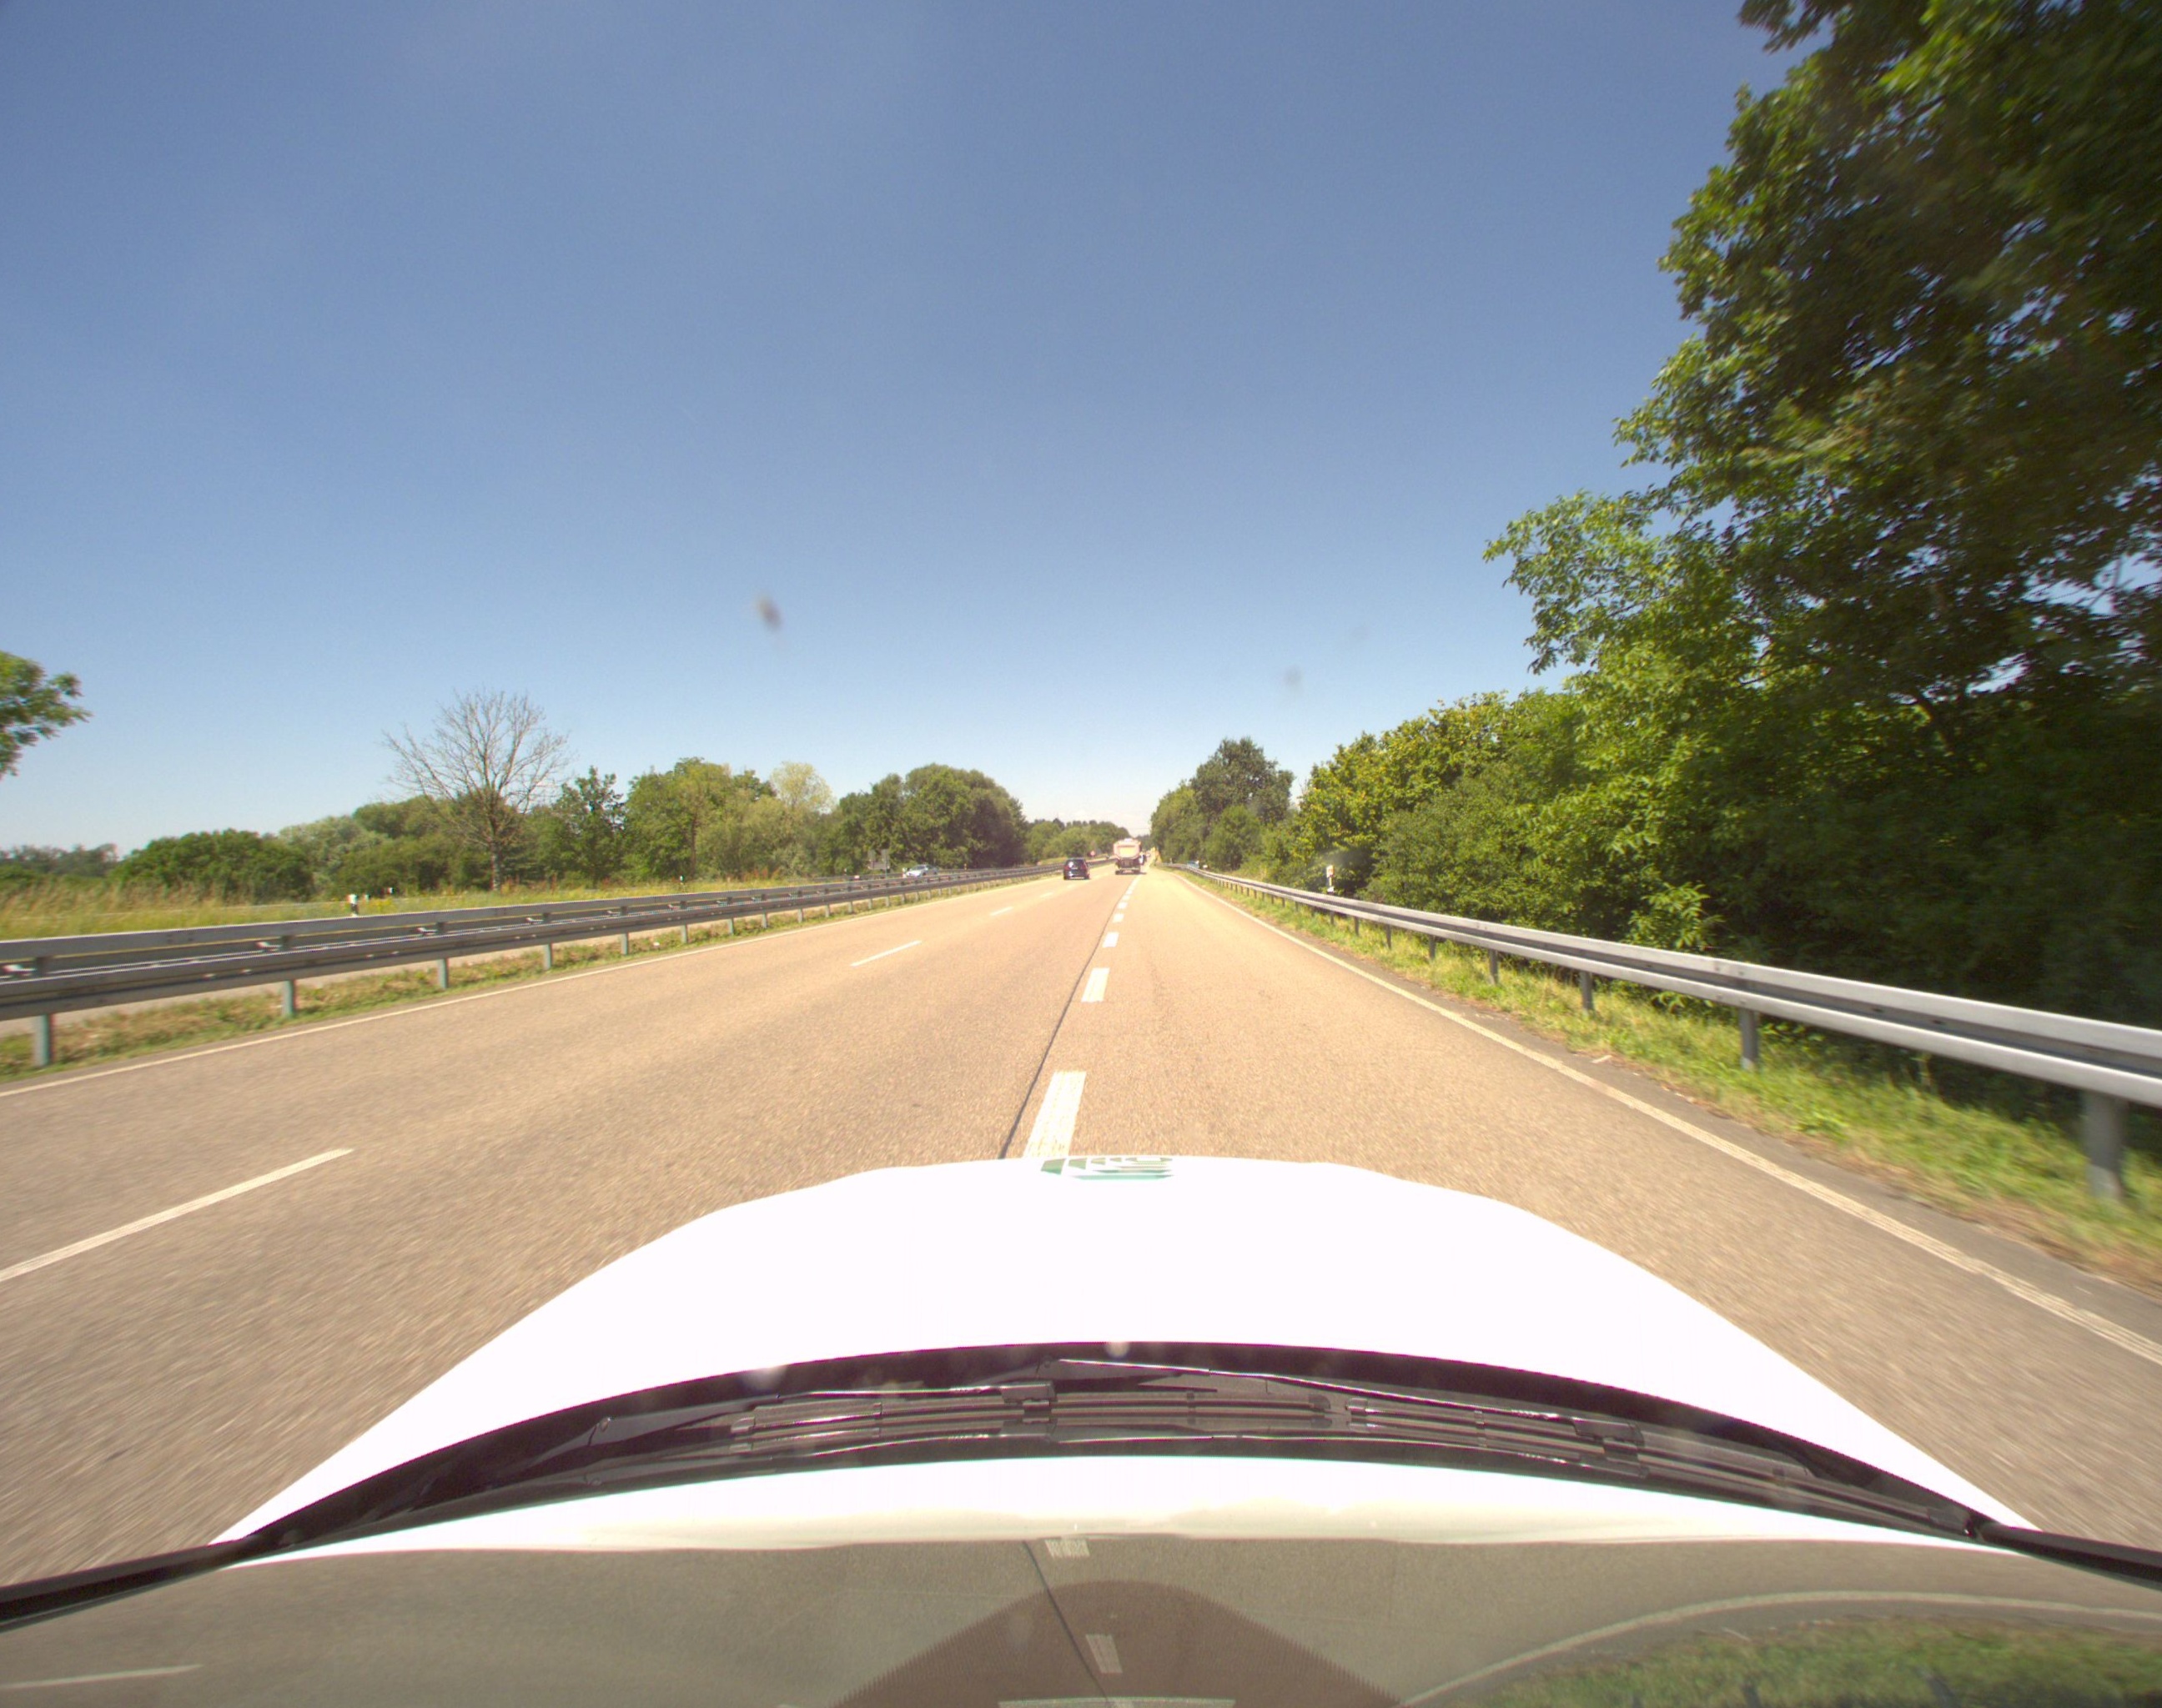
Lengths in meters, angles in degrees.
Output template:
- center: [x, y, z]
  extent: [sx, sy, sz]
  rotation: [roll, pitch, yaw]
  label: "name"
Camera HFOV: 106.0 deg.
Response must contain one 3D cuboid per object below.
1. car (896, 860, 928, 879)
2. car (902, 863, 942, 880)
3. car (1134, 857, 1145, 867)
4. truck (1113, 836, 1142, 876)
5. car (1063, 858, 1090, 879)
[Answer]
- center: [-14.303, 1.309, 69.102]
  extent: [1.912, 1.489, 3.998]
  rotation: [-1, -1, -1]
  label: "car"
- center: [-15.638, 1.720, 80.518]
  extent: [1.710, 1.645, 4.965]
  rotation: [-1, 0, 18]
  label: "car"
- center: [10.472, 1.494, 144.825]
  extent: [1.849, 1.671, 4.005]
  rotation: [-1, -1, 4]
  label: "car"
- center: [5.058, 0.147, 86.660]
  extent: [2.707, 3.930, 12.387]
  rotation: [-1, 0, 5]
  label: "truck"
- center: [-0.313, 1.167, 66.206]
  extent: [1.849, 1.671, 4.005]
  rotation: [-1, -1, 4]
  label: "car"
